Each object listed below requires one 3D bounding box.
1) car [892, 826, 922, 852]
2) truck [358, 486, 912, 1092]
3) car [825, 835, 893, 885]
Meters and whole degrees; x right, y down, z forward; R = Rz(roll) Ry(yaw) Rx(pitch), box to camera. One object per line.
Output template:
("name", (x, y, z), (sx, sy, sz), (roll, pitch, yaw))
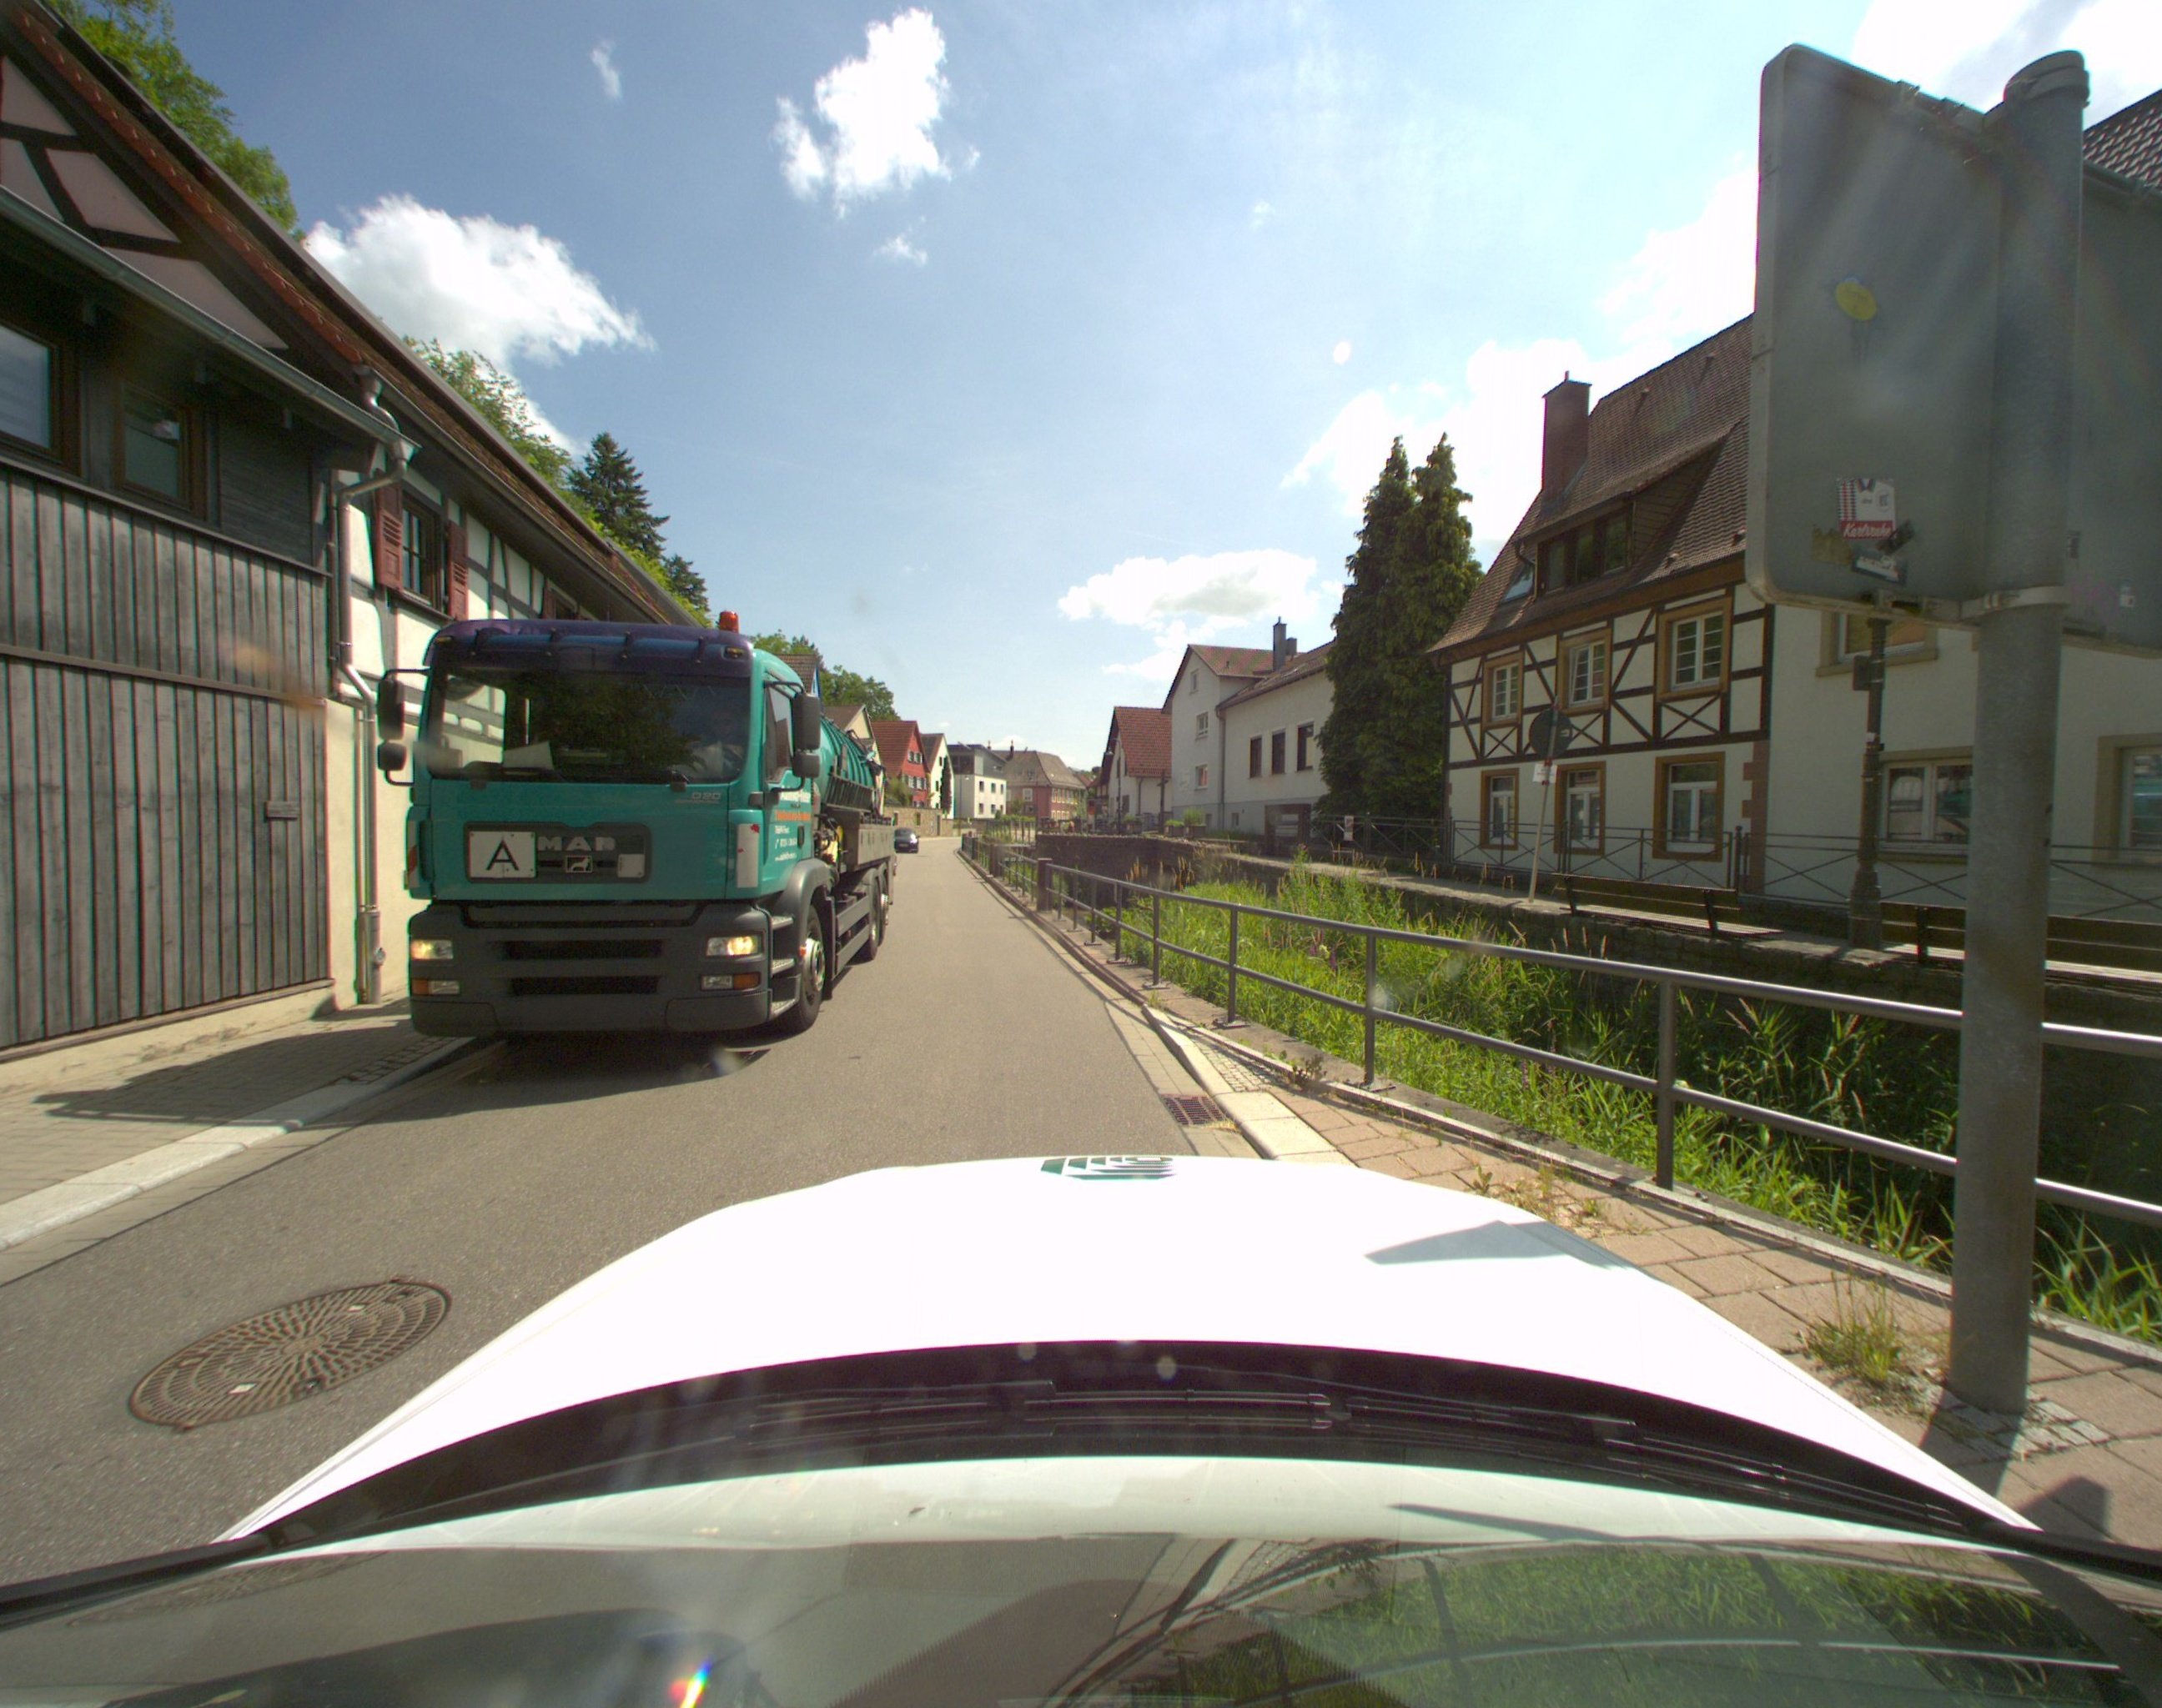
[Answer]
("car", (-10.606, -0.922, 49.785), (1.700, 1.465, 4.417), (-1, 1, -12))
("truck", (-3.701, -0.485, 9.825), (2.410, 3.657, 9.544), (-1, 1, -7))
("car", (-7.282, 0.117, 27.112), (1.897, 1.500, 4.595), (-1, 1, -12))
